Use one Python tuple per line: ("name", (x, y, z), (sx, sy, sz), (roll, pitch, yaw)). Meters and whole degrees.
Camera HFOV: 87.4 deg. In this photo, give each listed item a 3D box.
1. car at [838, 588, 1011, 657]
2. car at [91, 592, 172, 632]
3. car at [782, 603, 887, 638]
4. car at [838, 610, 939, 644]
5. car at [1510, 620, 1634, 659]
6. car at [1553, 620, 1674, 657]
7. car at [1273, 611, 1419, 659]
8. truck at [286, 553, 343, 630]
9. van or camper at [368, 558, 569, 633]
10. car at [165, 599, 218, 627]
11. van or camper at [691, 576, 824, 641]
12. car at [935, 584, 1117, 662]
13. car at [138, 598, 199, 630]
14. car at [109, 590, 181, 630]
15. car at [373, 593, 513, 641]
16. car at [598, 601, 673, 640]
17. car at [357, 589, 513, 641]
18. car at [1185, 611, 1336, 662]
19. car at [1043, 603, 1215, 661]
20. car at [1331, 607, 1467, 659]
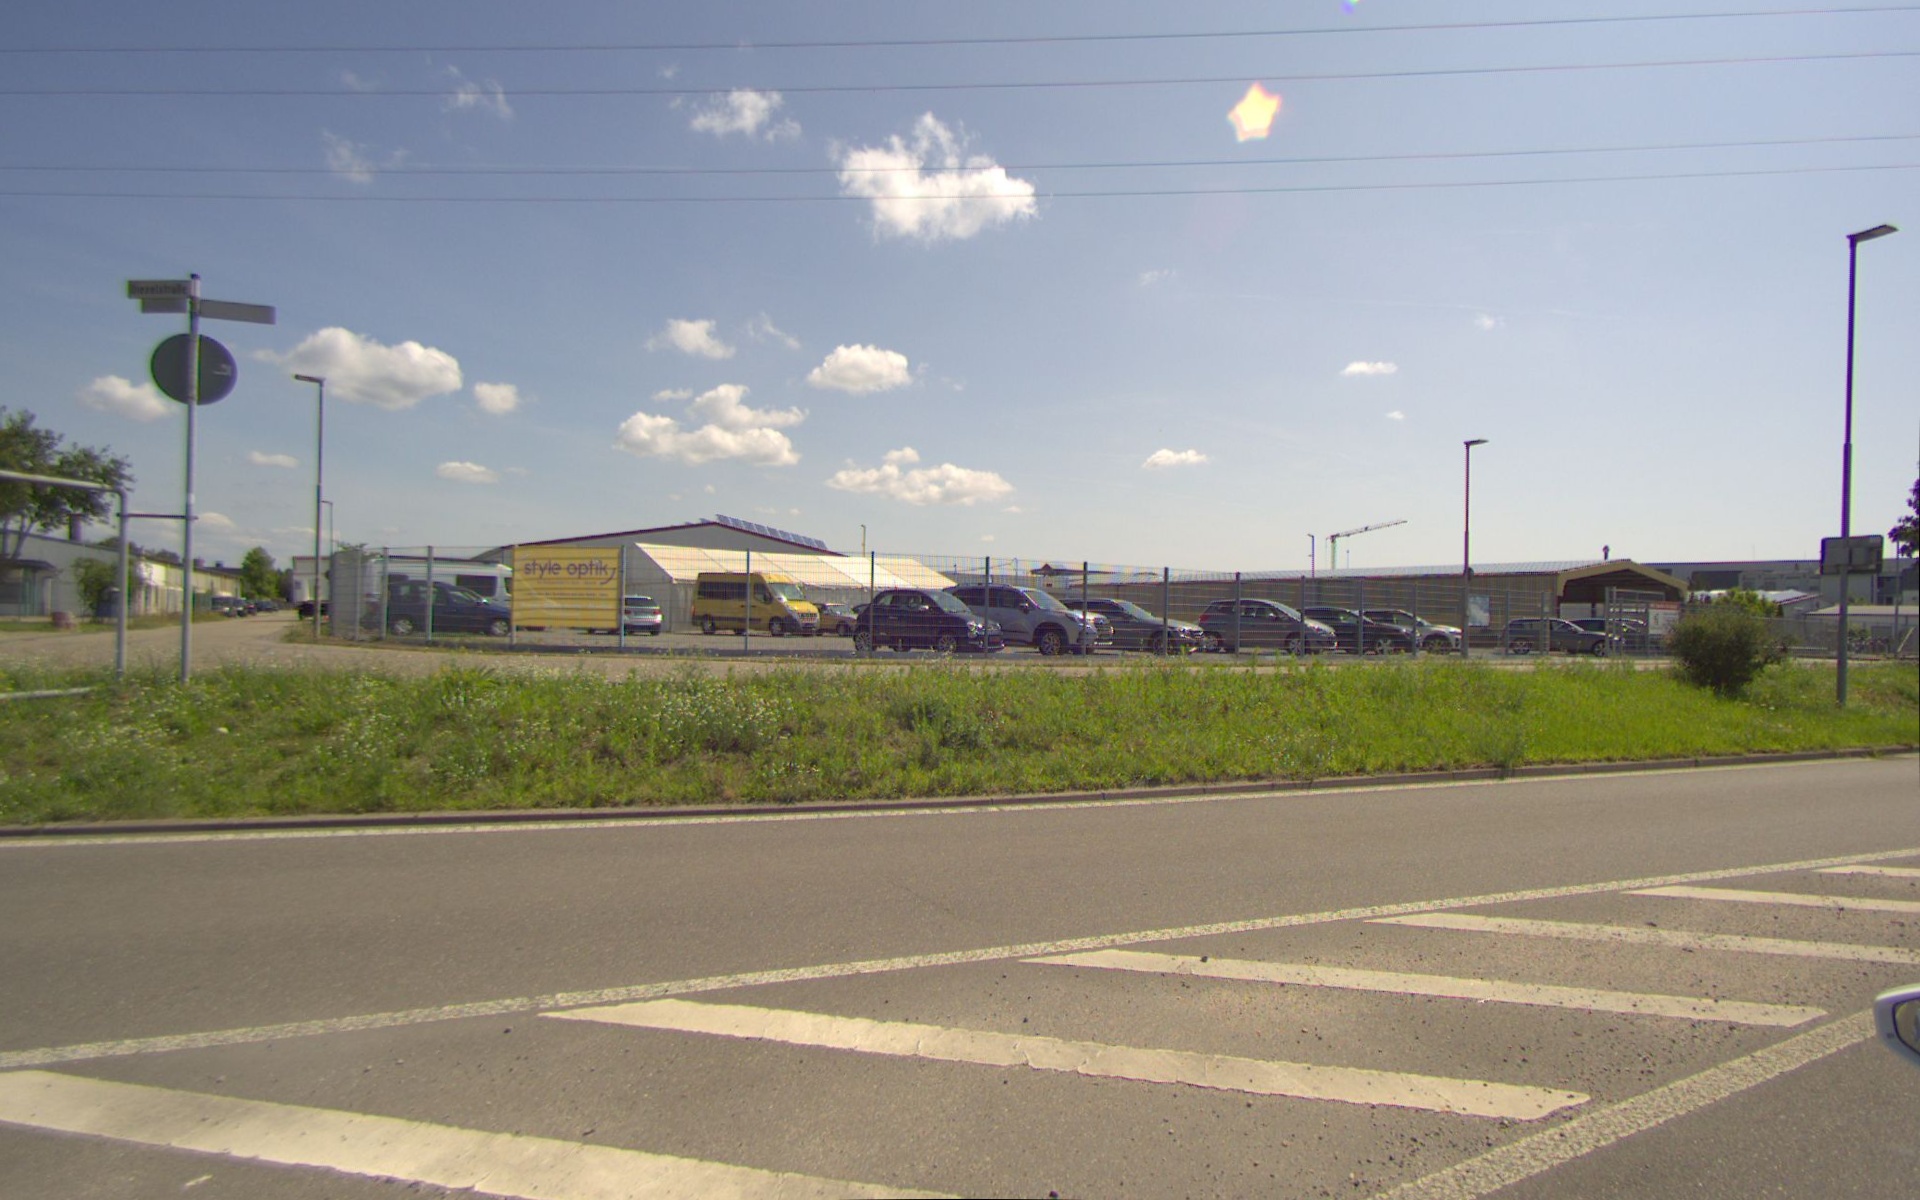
("car", (-0.827, 0.477, 22.563), (3.512, 1.420, 1.795), (1, -1, 36))
("car", (-35.498, 0.495, 43.160), (1.978, 1.575, 4.773), (2, -1, -31))
("car", (-5.194, 0.820, 41.379), (3.929, 1.327, 1.939), (1, 0, 31))
("car", (-3.075, 1.125, 42.950), (3.929, 1.327, 1.939), (1, 0, 31))
("car", (23.421, 1.486, 38.569), (3.929, 1.327, 1.939), (1, 0, 31))
("car", (25.906, 1.506, 40.005), (3.930, 1.327, 1.939), (1, -1, 31))
("car", (12.069, 1.074, 31.448), (3.931, 1.327, 1.938), (1, -1, 33))
("truck", (-41.395, -0.491, 64.633), (2.814, 4.577, 8.520), (1, -1, -32))
("van or camper", (-18.648, -0.107, 38.340), (6.692, 2.634, 1.984), (2, -1, -31))
("car", (-44.802, 0.738, 58.607), (1.978, 1.575, 4.187), (2, -1, -31))
("van or camper", (-8.038, 0.294, 39.729), (5.246, 2.407, 1.890), (1, 0, 31))
("car", (1.571, 0.513, 24.280), (4.036, 1.727, 1.720), (1, -1, 31))
("car", (-41.146, 0.715, 52.328), (1.978, 1.575, 4.187), (2, -1, -31))
("car", (-38.308, 0.477, 47.321), (1.977, 1.766, 4.456), (2, -1, -31))
("car", (-16.906, 0.565, 32.907), (3.954, 1.452, 1.910), (2, -1, -31))
("car", (-12.016, 0.718, 37.060), (1.975, 1.327, 3.970), (2, -1, -28))
("car", (-15.840, 0.471, 30.370), (3.962, 1.452, 1.906), (2, -1, -36))
("car", (8.890, 1.041, 29.807), (3.929, 1.327, 1.939), (1, 0, 31))
("car", (4.338, 0.798, 25.906), (3.930, 1.327, 1.939), (1, -1, 31))
("car", (14.637, 1.077, 33.525), (3.929, 1.561, 1.939), (1, 0, 31))
